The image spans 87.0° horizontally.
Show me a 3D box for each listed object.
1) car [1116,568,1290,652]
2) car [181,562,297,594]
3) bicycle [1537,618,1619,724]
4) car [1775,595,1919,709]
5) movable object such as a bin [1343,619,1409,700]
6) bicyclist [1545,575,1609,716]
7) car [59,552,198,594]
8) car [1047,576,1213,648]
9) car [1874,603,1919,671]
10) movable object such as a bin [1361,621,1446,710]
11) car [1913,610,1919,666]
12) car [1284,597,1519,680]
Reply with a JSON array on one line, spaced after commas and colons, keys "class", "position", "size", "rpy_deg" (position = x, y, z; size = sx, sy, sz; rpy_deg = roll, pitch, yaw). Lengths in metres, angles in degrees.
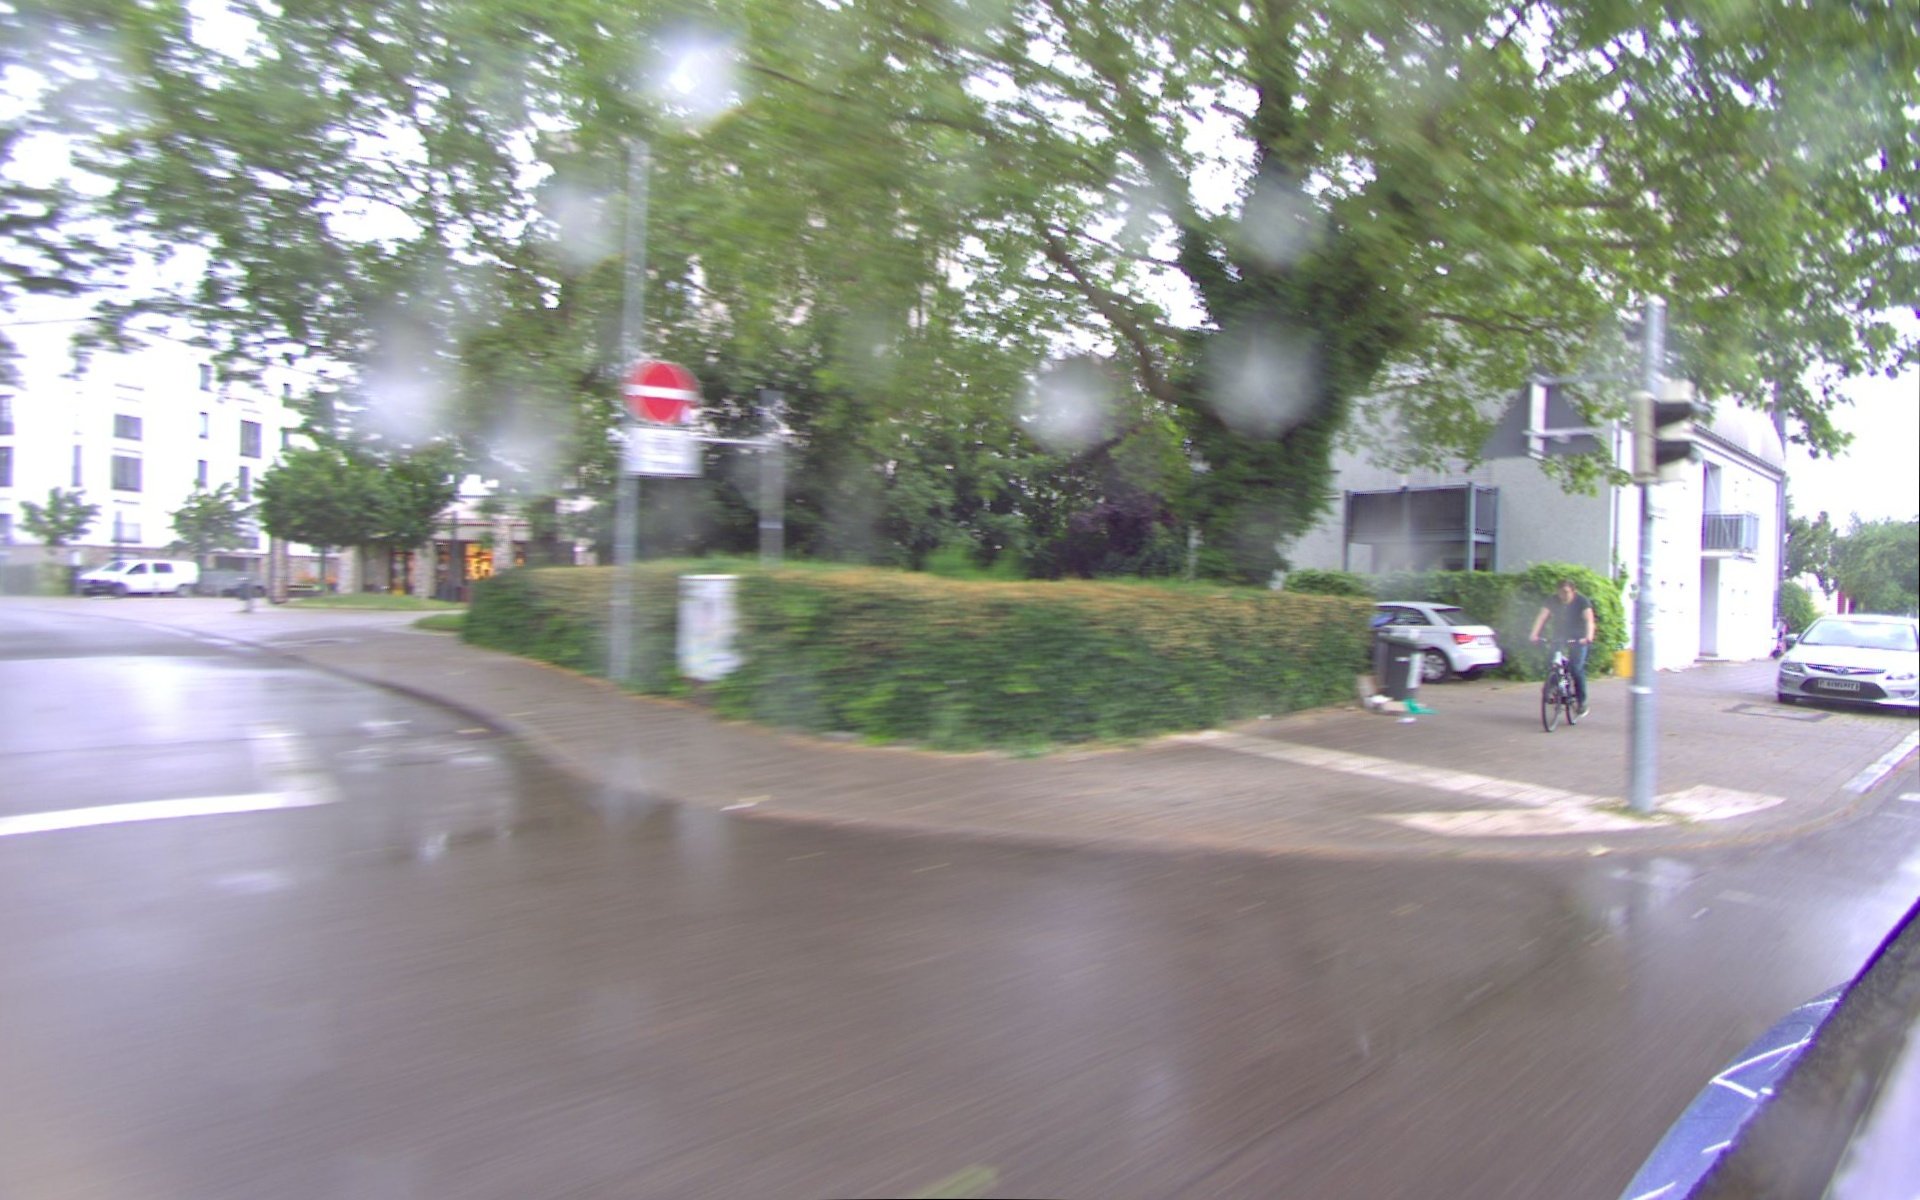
[{"class": "car", "position": [5.832, 0.200, 24.078], "size": [4.175, 1.816, 1.997], "rpy_deg": [0, 0, -41]}, {"class": "car", "position": [-40.674, -1.181, 57.278], "size": [2.224, 1.724, 5.112], "rpy_deg": [0, 0, 16]}, {"class": "bicycle", "position": [7.299, 0.789, 11.915], "size": [0.535, 1.107, 1.920], "rpy_deg": [0, 0, 40]}, {"class": "car", "position": [14.564, 0.733, 16.114], "size": [3.728, 1.485, 1.811], "rpy_deg": [0, 4, -42]}, {"class": "movable object such as a bin", "position": [5.709, 0.803, 13.896], "size": [0.726, 1.034, 0.537], "rpy_deg": [0, 3, -42]}, {"class": "bicyclist", "position": [7.217, 0.506, 11.828], "size": [0.533, 1.579, 0.761], "rpy_deg": [0, 0, 40]}, {"class": "car", "position": [-41.959, -1.302, 51.238], "size": [2.224, 2.039, 5.112], "rpy_deg": [0, 0, 16]}, {"class": "car", "position": [4.363, 0.263, 25.657], "size": [4.175, 1.675, 1.997], "rpy_deg": [0, 0, -41]}, {"class": "car", "position": [22.651, 0.858, 23.372], "size": [3.728, 1.422, 1.811], "rpy_deg": [0, 4, -42]}, {"class": "movable object such as a bin", "position": [5.681, 0.812, 12.961], "size": [0.810, 1.034, 0.693], "rpy_deg": [0, 3, -42]}, {"class": "car", "position": [26.937, 1.035, 27.072], "size": [4.569, 1.422, 1.654], "rpy_deg": [0, 4, -42]}, {"class": "car", "position": [8.211, 0.644, 19.070], "size": [1.729, 1.395, 3.704], "rpy_deg": [0, 0, -39]}]
